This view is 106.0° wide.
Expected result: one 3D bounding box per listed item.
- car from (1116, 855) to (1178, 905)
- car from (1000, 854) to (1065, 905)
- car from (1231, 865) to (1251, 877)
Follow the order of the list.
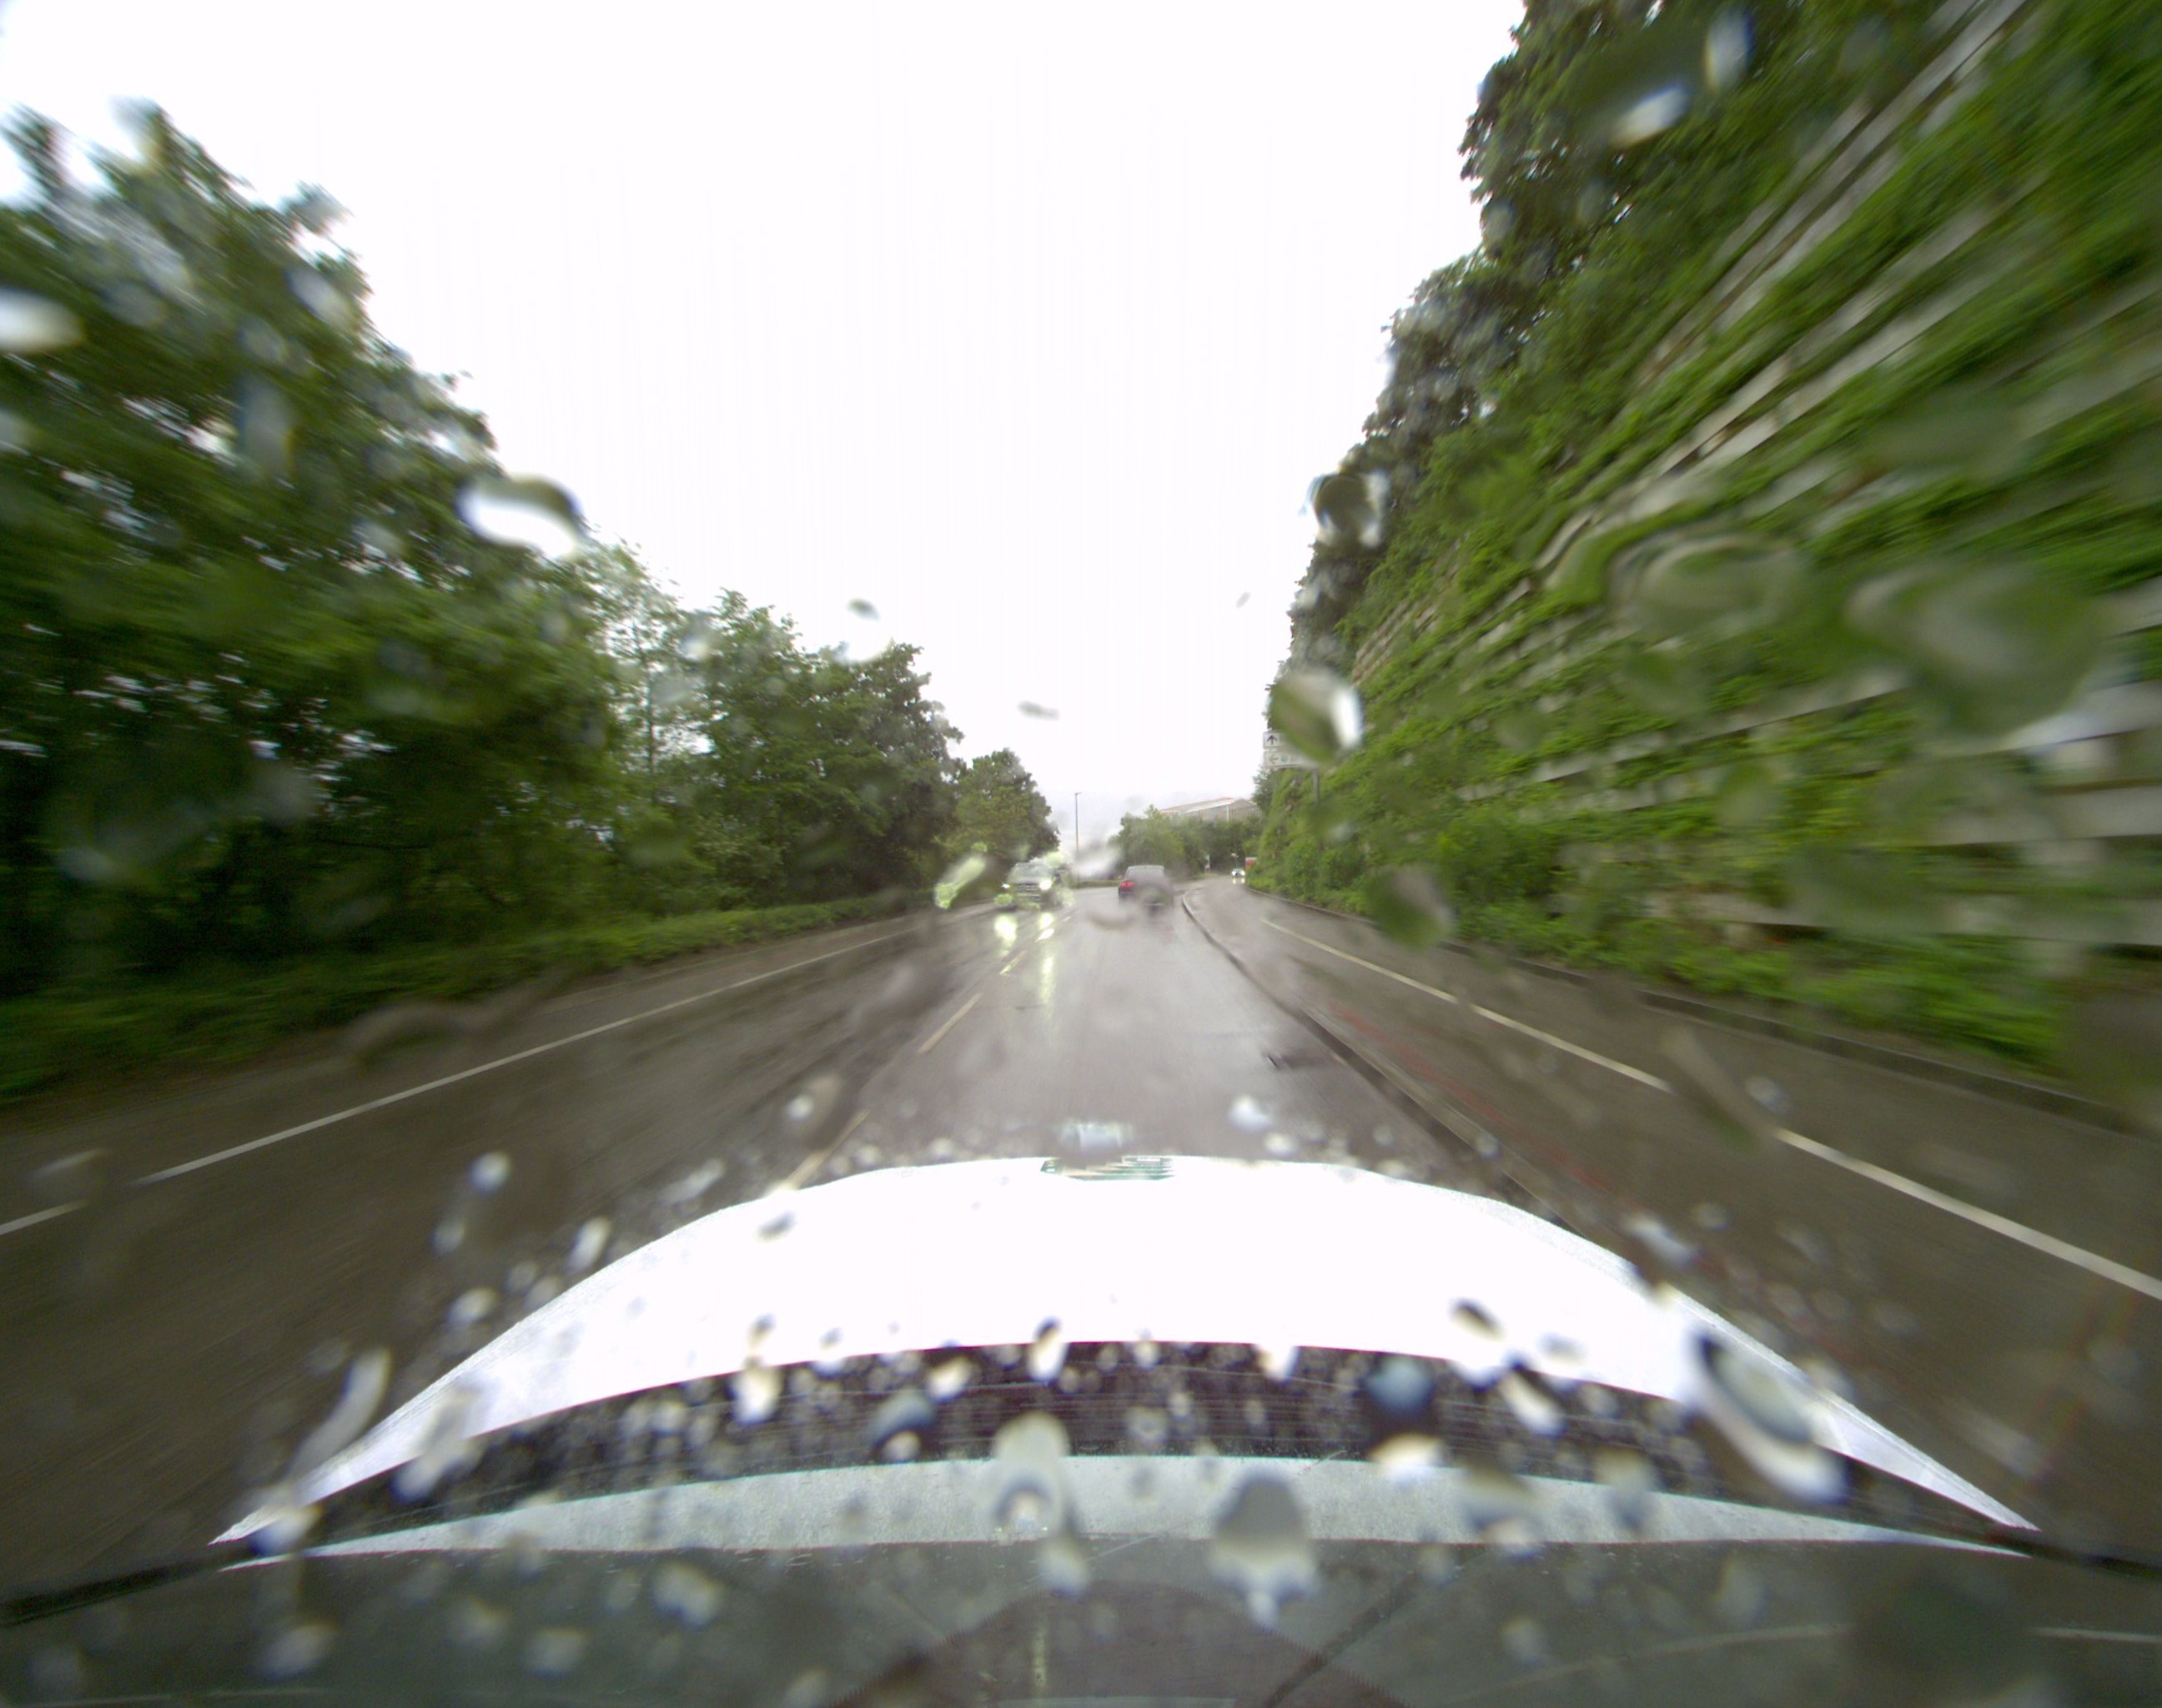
[{"bbox_3d":[2.200,0.808,27.165,1.884,1.492,4.213,-1,0,5],"label":"car"},{"bbox_3d":[-1.702,0.879,29.819,1.822,1.706,4.337,-1,0,3],"label":"car"},{"bbox_3d":[25.744,2.741,130.851,1.974,1.741,4.025,-3,-1,30],"label":"car"}]
